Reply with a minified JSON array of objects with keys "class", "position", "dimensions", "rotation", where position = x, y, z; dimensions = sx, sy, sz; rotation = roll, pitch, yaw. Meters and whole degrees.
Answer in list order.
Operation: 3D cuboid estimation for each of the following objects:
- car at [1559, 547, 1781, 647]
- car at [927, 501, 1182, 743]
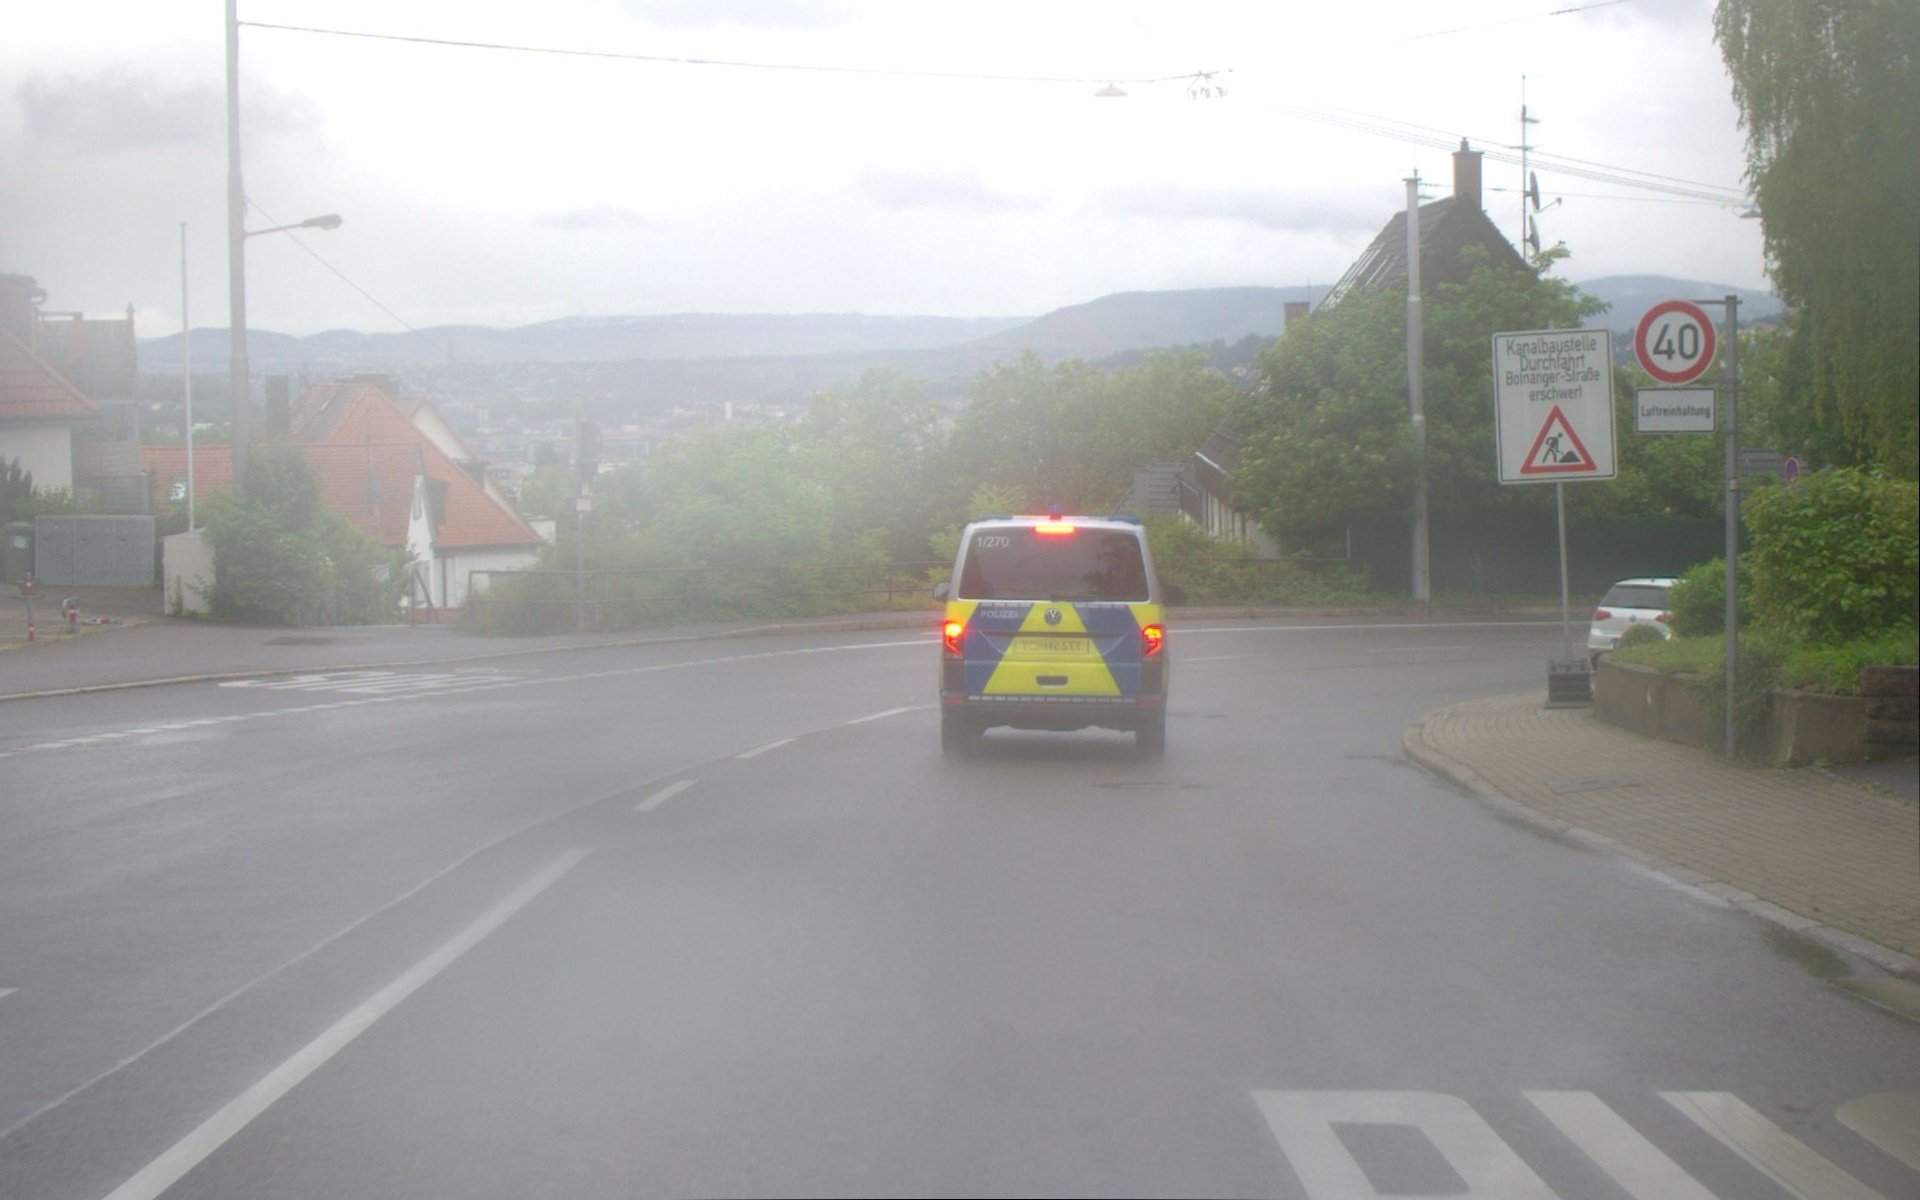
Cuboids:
[{"class":"car","position":[10.844,-0.067,52.346],"dimensions":[1.793,1.441,4.097],"rotation":[1,1,35]},{"class":"car","position":[0.727,0.134,29.535],"dimensions":[1.993,1.887,4.570],"rotation":[1,1,-1]}]
